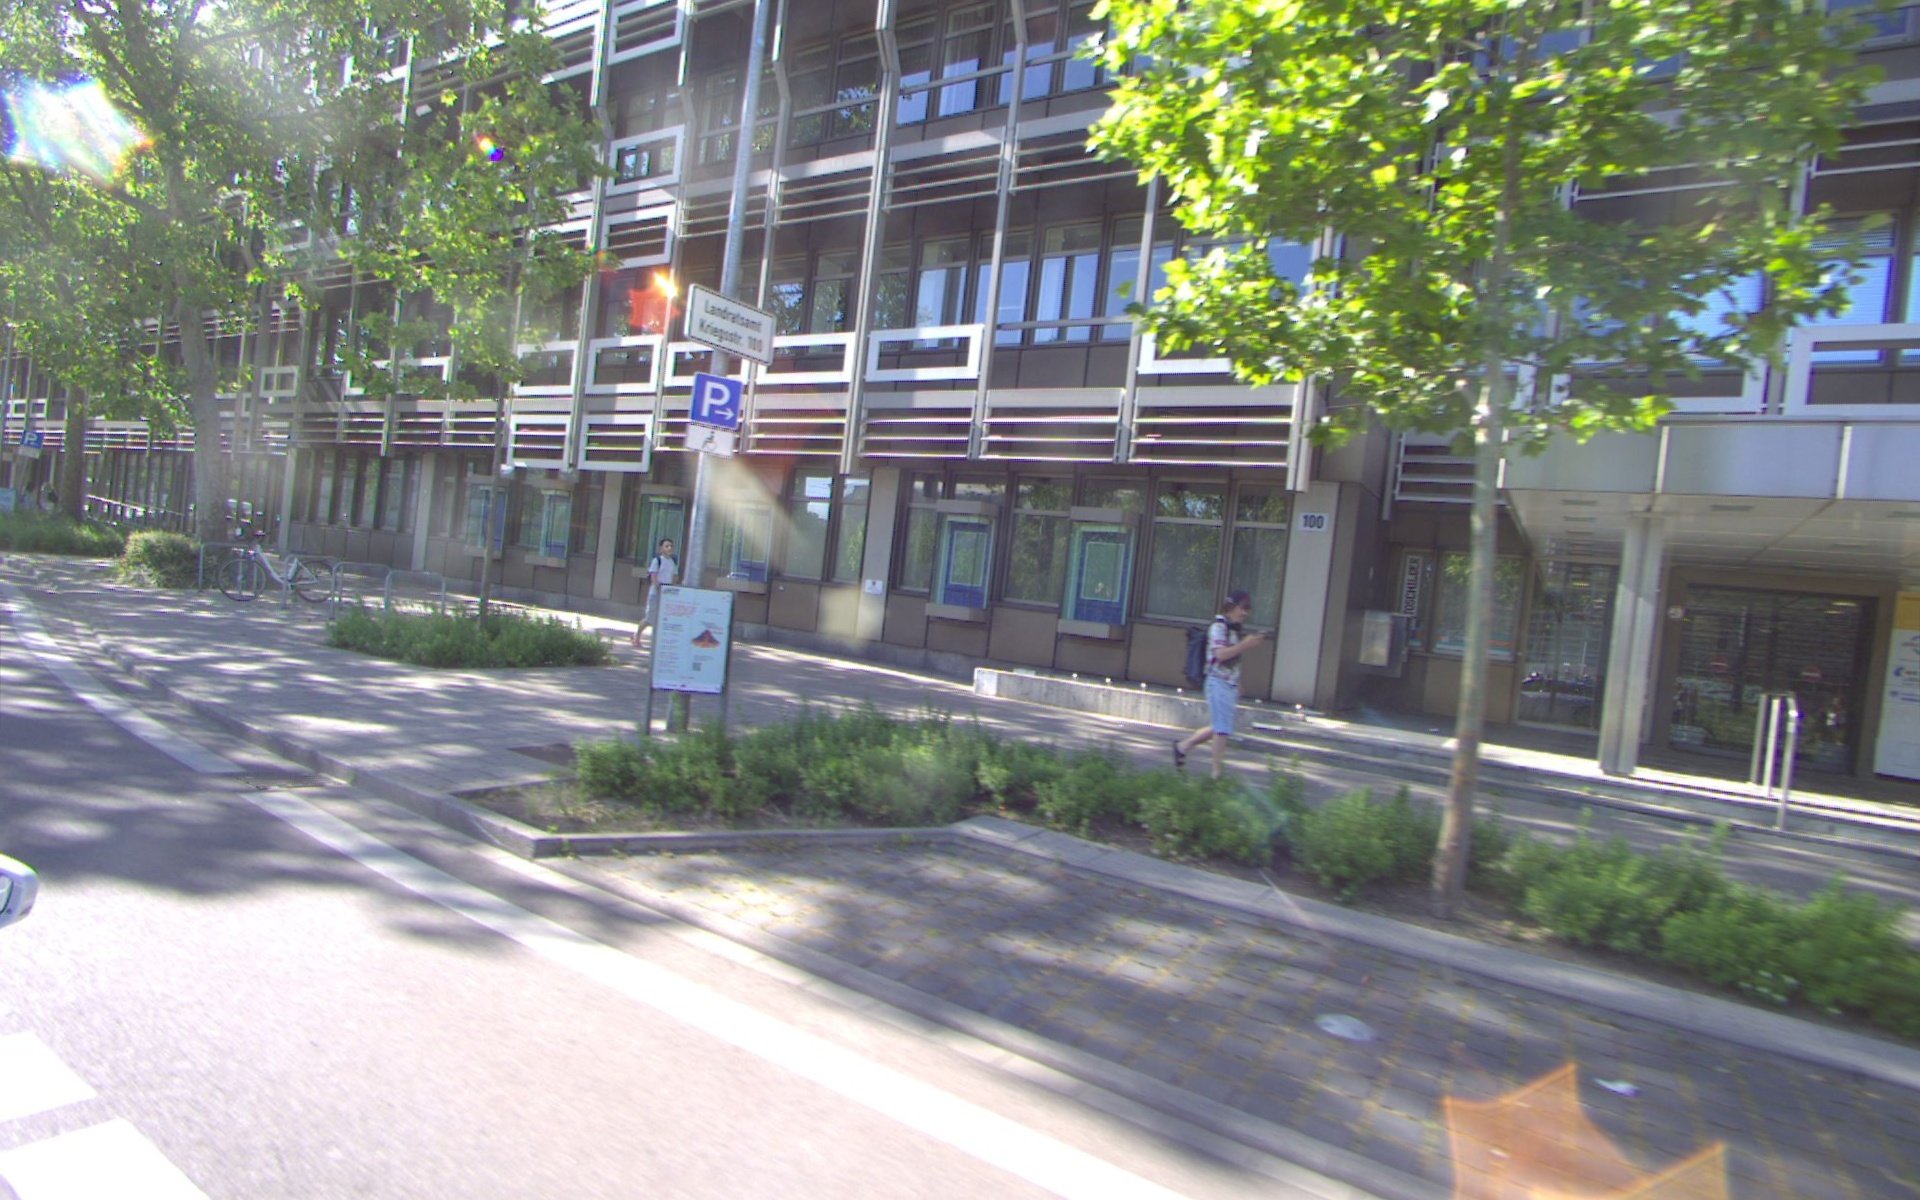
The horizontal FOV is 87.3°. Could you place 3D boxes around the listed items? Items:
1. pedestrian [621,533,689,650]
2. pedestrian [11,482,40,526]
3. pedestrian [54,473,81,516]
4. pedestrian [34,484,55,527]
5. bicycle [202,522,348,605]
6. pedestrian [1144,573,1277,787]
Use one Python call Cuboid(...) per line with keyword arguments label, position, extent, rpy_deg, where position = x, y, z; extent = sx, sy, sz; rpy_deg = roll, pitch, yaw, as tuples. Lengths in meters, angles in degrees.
Cuboid(label="pedestrian", position=(-4.742, -0.127, 15.636), extent=(0.761, 1.723, 0.511), rpy_deg=(7, 3, 33))
Cuboid(label="pedestrian", position=(-36.344, -3.743, 39.127), extent=(0.624, 1.604, 0.506), rpy_deg=(7, 1, 25))
Cuboid(label="pedestrian", position=(-35.658, -4.203, 40.185), extent=(0.564, 1.623, 0.554), rpy_deg=(7, 1, 33))
Cuboid(label="pedestrian", position=(-36.066, -3.713, 39.615), extent=(0.492, 1.604, 0.315), rpy_deg=(7, 1, 25))
Cuboid(label="bicycle", position=(-11.501, -0.584, 16.958), extent=(0.569, 1.253, 1.937), rpy_deg=(7, 3, 30))
Cuboid(label="pedestrian", position=(2.233, 0.696, 8.962), extent=(0.790, 1.749, 0.648), rpy_deg=(7, 1, 32))
